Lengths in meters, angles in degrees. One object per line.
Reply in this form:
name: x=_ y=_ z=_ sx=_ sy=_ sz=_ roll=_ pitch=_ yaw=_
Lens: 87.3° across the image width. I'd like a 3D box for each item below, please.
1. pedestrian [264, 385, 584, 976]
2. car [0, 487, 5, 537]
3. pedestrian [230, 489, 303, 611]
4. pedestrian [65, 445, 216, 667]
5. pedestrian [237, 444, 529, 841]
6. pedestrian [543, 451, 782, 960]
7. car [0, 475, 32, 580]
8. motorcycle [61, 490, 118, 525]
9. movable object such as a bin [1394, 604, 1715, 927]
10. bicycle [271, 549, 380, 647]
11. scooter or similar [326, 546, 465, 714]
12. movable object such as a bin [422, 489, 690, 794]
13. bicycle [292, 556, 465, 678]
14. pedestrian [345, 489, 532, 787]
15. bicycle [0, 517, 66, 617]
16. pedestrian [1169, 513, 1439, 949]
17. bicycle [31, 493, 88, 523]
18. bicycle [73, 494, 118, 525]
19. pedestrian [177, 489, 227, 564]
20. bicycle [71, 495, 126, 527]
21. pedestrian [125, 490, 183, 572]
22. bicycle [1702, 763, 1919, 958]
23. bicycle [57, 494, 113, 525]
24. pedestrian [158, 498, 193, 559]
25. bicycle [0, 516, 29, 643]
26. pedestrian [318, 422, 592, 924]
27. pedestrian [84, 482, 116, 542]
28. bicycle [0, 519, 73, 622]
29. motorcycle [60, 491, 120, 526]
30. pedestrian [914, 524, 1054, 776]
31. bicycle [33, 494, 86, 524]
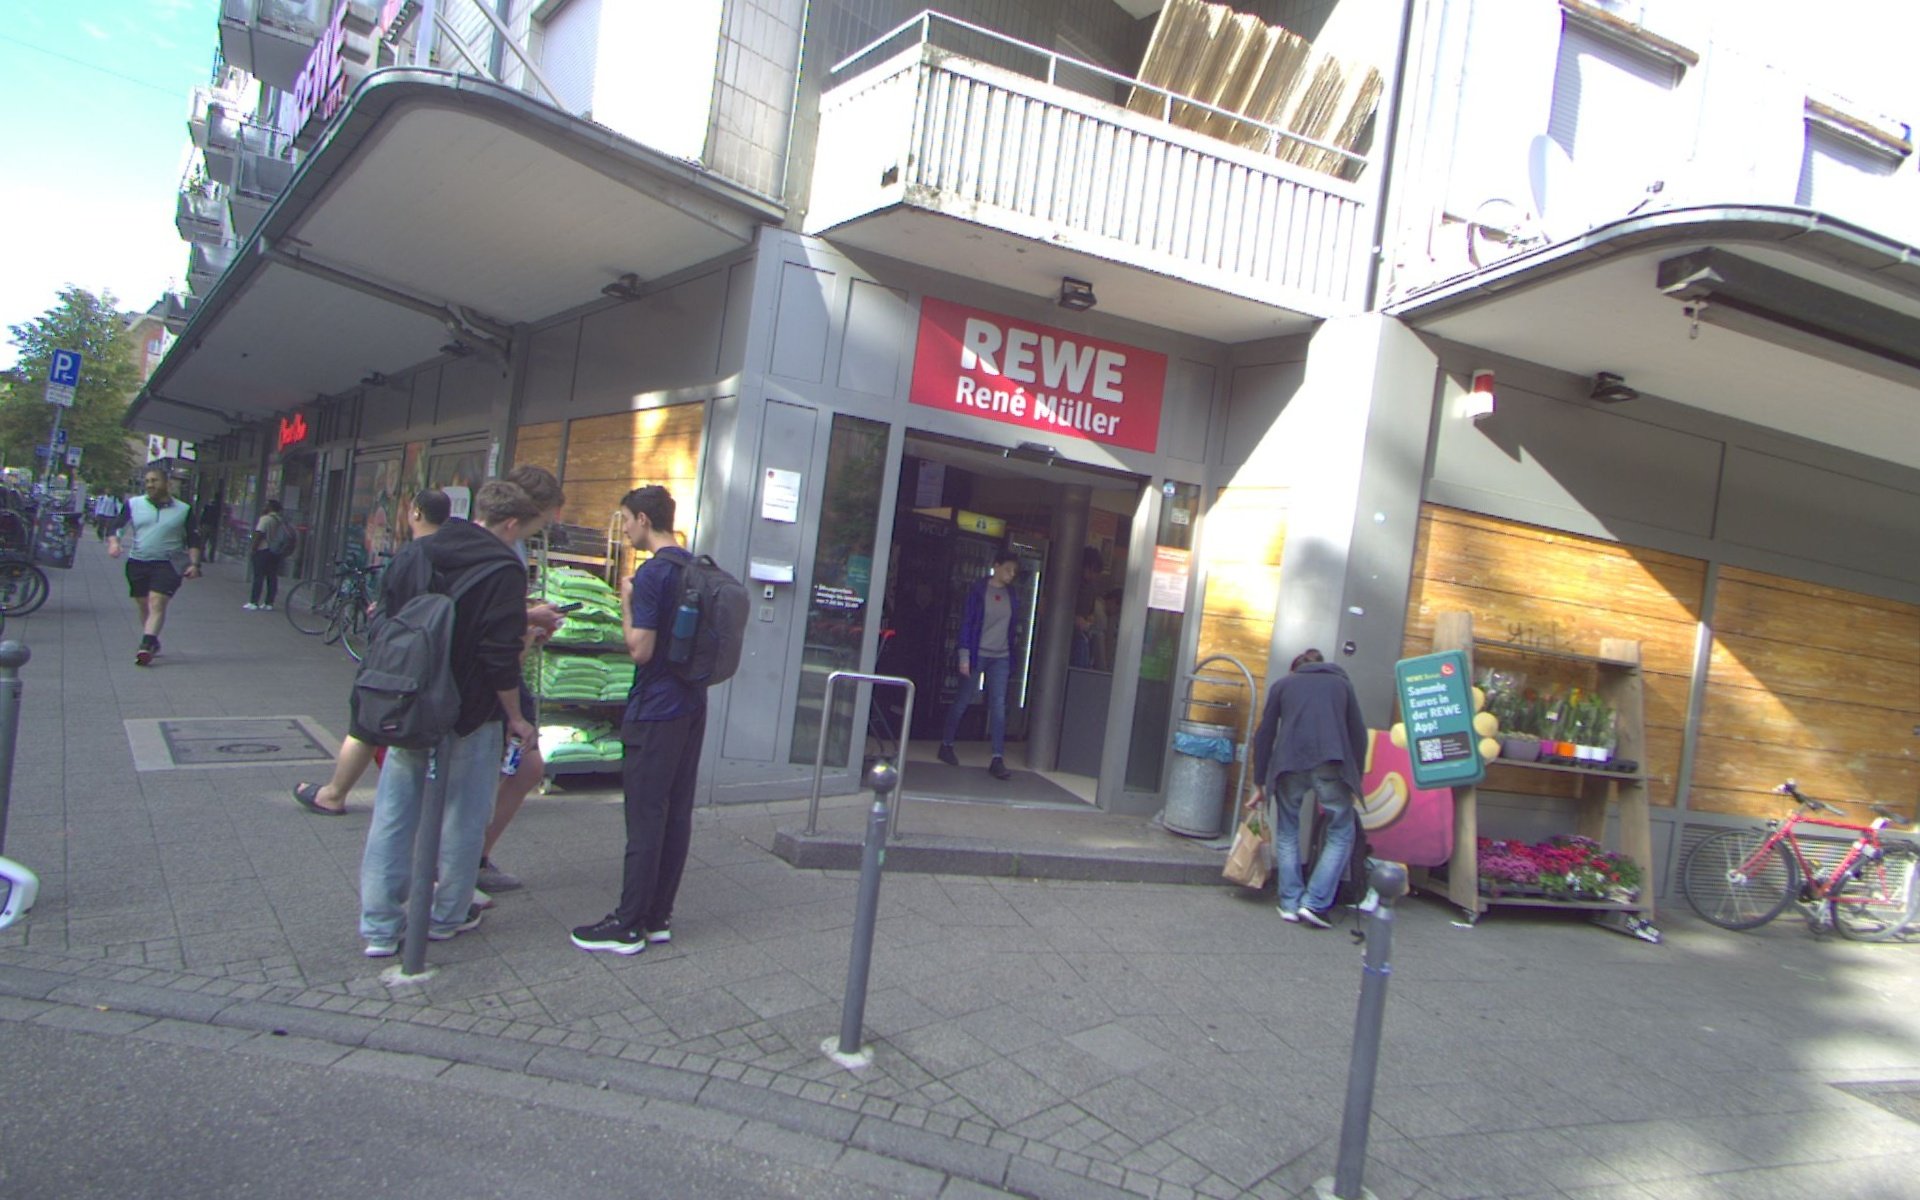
pedestrian: x=-1.836 y=0.258 z=3.538 sx=0.620 sy=1.822 sz=0.714 roll=6 pitch=3 yaw=-1
car: x=-23.410 y=-2.021 z=23.265 sx=1.589 sy=1.457 sz=3.983 roll=7 pitch=0 yaw=-41
pedestrian: x=-10.680 y=-0.766 z=15.496 sx=0.711 sy=1.770 sz=0.807 roll=4 pitch=3 yaw=-44
pedestrian: x=-7.488 y=-0.393 z=9.254 sx=0.878 sy=1.858 sz=1.037 roll=5 pitch=2 yaw=-34
pedestrian: x=-2.939 y=0.170 z=5.124 sx=1.033 sy=1.770 sz=0.848 roll=8 pitch=3 yaw=37
pedestrian: x=-1.205 y=0.383 z=3.999 sx=0.647 sy=1.822 sz=0.653 roll=4 pitch=4 yaw=-29
car: x=-16.876 y=-1.361 z=16.825 sx=1.784 sy=1.626 sz=3.878 roll=5 pitch=2 yaw=-41
motorcycle: x=-45.675 y=-4.837 z=52.818 sx=2.138 sy=1.550 sz=0.679 roll=5 pitch=2 yaw=-38
movable object such as a bin: x=3.692 y=1.029 z=6.278 sx=1.528 sy=1.777 sz=0.687 roll=8 pitch=2 yaw=-20
bicycle: x=-7.920 y=-0.044 z=12.524 sx=0.739 sy=1.028 sz=1.760 roll=4 pitch=2 yaw=-44
scooter or similar: x=-4.698 y=0.231 z=8.344 sx=0.630 sy=1.229 sz=1.240 roll=4 pitch=3 yaw=-44
movable object such as a bin: x=-2.868 y=0.188 z=6.933 sx=0.777 sy=1.766 sz=2.394 roll=7 pitch=0 yaw=-42
bicycle: x=-6.015 y=0.170 z=10.388 sx=1.704 sy=1.056 sz=0.677 roll=6 pitch=0 yaw=29
pedestrian: x=-3.145 y=0.211 z=6.060 sx=0.719 sy=1.654 sz=0.703 roll=4 pitch=3 yaw=-44
bicycle: x=-11.295 y=-0.429 z=11.271 sx=0.578 sy=1.084 sz=1.786 roll=8 pitch=2 yaw=38
pedestrian: x=1.885 y=0.640 z=5.467 sx=1.016 sy=2.040 sz=0.862 roll=8 pitch=3 yaw=28
bicycle: x=-38.743 y=-3.956 z=43.295 sx=0.406 sy=1.070 sz=1.761 roll=8 pitch=2 yaw=43
bicycle: x=-38.792 y=-4.049 z=45.142 sx=1.489 sy=1.161 sz=0.406 roll=5 pitch=2 yaw=-42
pedestrian: x=-20.243 y=-1.942 z=26.881 sx=0.698 sy=1.883 sz=0.643 roll=7 pitch=0 yaw=-13
bicycle: x=-37.535 y=-3.874 z=43.853 sx=1.757 sy=1.177 sz=0.643 roll=5 pitch=2 yaw=-40
pedestrian: x=-17.115 y=-1.466 z=21.369 sx=0.820 sy=1.608 sz=0.772 roll=7 pitch=1 yaw=-40
bicycle: x=5.980 y=1.754 z=6.752 sx=1.509 sy=1.046 sz=0.582 roll=8 pitch=2 yaw=-8
bicycle: x=-38.538 y=-3.977 z=44.335 sx=1.757 sy=1.101 sz=0.643 roll=5 pitch=2 yaw=-40
pedestrian: x=-21.846 y=-1.987 z=28.014 sx=0.641 sy=1.609 sz=0.772 roll=5 pitch=2 yaw=-40
bicycle: x=-9.637 y=-0.264 z=8.996 sx=1.876 sy=1.140 sz=0.896 roll=5 pitch=2 yaw=-44
pedestrian: x=-1.991 y=0.281 z=4.051 sx=0.702 sy=1.822 sz=0.630 roll=6 pitch=3 yaw=-9
pedestrian: x=-26.722 y=-2.732 z=31.264 sx=0.609 sy=1.748 sz=1.113 roll=6 pitch=2 yaw=-41
bicycle: x=-10.876 y=-0.371 z=10.892 sx=0.560 sy=1.084 sz=1.786 roll=8 pitch=2 yaw=38
motorcycle: x=-43.720 y=-4.591 z=50.581 sx=2.138 sy=1.453 sz=0.757 roll=5 pitch=2 yaw=-38
pedestrian: x=0.159 y=0.372 z=7.887 sx=0.752 sy=1.775 sz=0.929 roll=8 pitch=1 yaw=-6
bicycle: x=-42.462 y=-4.275 z=47.439 sx=1.785 sy=1.174 sz=0.494 roll=5 pitch=2 yaw=-39
